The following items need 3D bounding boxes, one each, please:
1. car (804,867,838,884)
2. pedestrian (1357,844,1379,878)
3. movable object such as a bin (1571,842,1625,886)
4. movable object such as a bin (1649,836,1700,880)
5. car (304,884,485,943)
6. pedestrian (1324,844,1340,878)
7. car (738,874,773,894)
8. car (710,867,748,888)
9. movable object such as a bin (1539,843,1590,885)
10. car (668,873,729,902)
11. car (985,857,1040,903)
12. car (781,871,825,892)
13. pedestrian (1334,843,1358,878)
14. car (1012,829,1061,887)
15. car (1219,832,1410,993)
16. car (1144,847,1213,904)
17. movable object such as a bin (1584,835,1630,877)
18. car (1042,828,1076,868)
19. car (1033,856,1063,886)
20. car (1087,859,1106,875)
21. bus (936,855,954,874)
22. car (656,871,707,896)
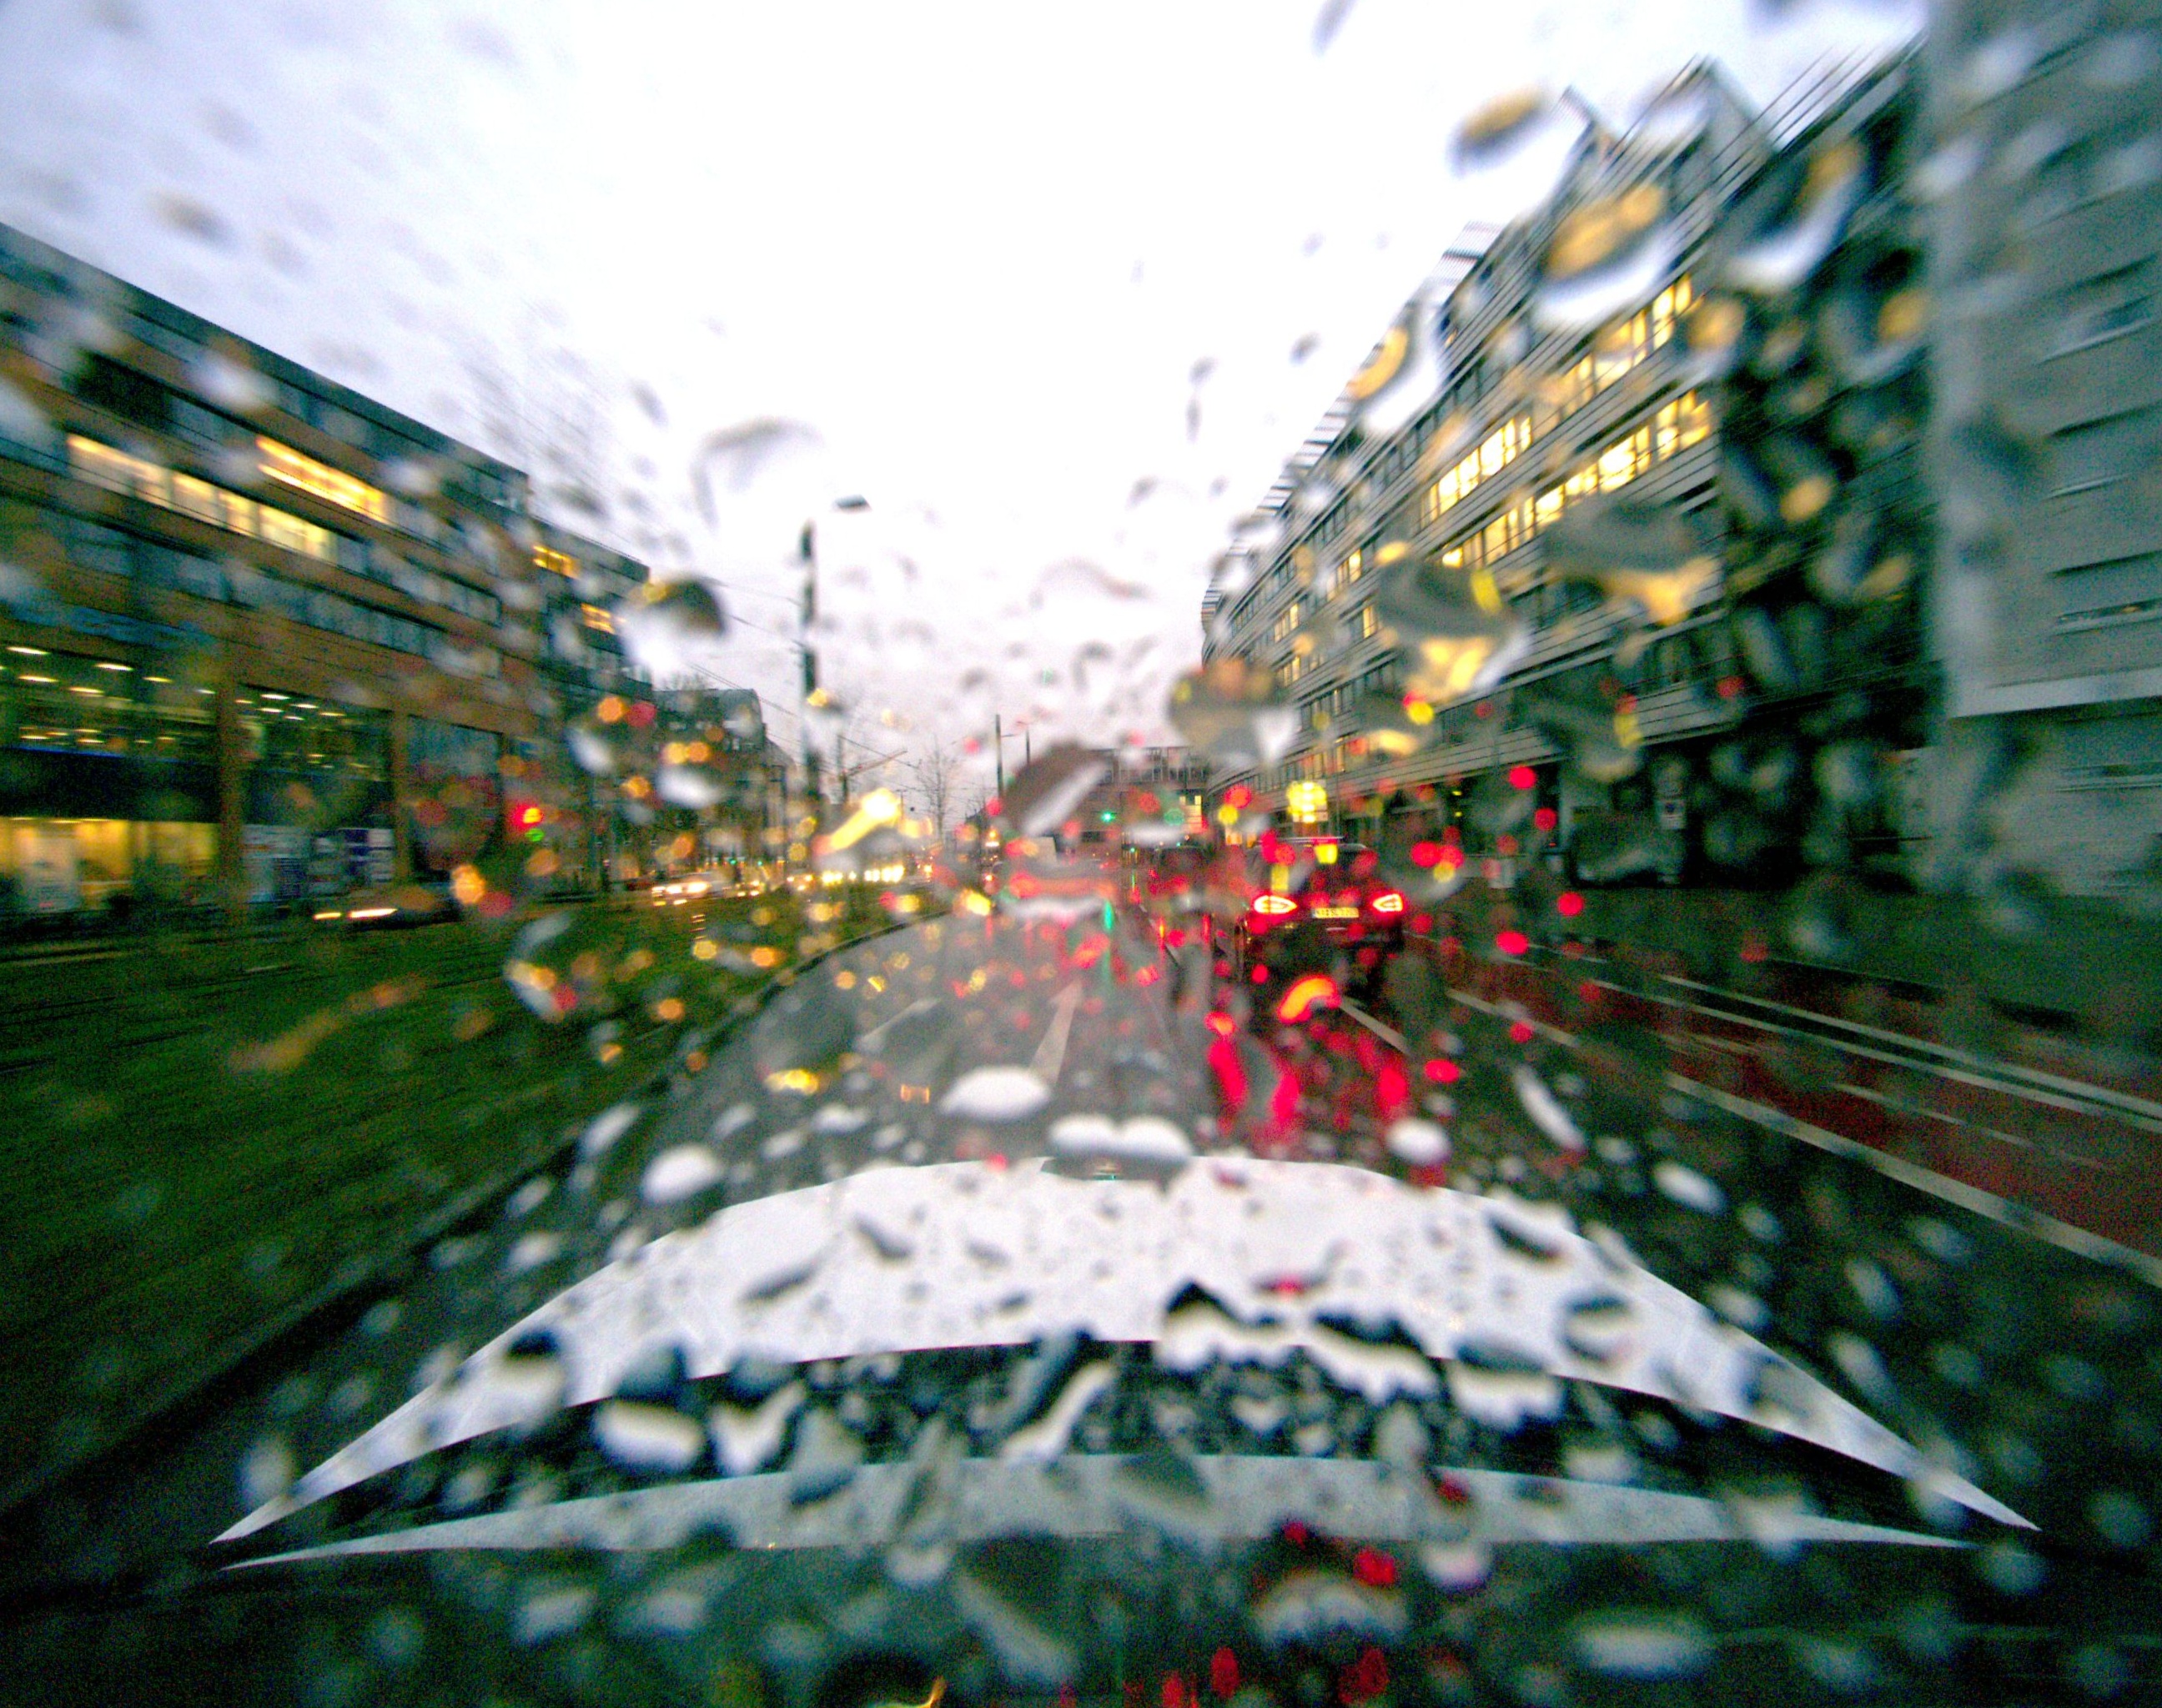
[{"bbox_3d":[-23.464,1.937,73.746,1.990,1.449,4.307,-2,-1,-5],"label":"car"},{"bbox_3d":[14.059,0.337,39.895,0.723,1.625,0.902,-2,-1,1],"label":"pedestrian"},{"bbox_3d":[16.380,0.315,25.833,0.844,1.294,1.165,-4,0,-9],"label":"movable object such as a bin"},{"bbox_3d":[18.347,0.121,25.197,0.729,1.305,0.961,-4,0,-9],"label":"movable object such as a bin"},{"bbox_3d":[-20.538,1.735,24.607,1.805,1.442,3.963,-2,0,6],"label":"car"},{"bbox_3d":[12.354,0.346,40.086,0.529,1.683,0.745,-2,-1,1],"label":"pedestrian"},{"bbox_3d":[-25.846,2.331,64.857,1.632,1.449,4.404,-2,-1,-10],"label":"car"},{"bbox_3d":[-30.897,2.020,71.589,1.626,1.692,3.622,-2,-1,1],"label":"car"},{"bbox_3d":[16.140,0.329,27.195,0.844,1.294,1.165,-4,0,-9],"label":"movable object such as a bin"},{"bbox_3d":[-19.870,1.724,42.466,1.502,1.373,3.650,-2,-1,-1],"label":"car"},{"bbox_3d":[-2.426,0.883,29.463,1.633,1.496,3.684,-2,0,0],"label":"car"},{"bbox_3d":[-20.994,2.038,61.618,1.723,1.393,4.200,-2,-1,1],"label":"car"},{"bbox_3d":[13.068,0.327,40.243,0.790,1.686,1.069,-2,-1,1],"label":"pedestrian"},{"bbox_3d":[-2.049,0.189,37.643,1.989,2.427,5.967,-2,0,-3],"label":"car"},{"bbox_3d":[2.946,0.669,11.092,1.666,1.779,4.004,-1,0,4],"label":"car"},{"bbox_3d":[3.385,0.717,29.060,1.838,1.806,4.486,-2,0,0],"label":"car"},{"bbox_3d":[18.106,0.066,28.049,0.729,1.382,1.076,-4,0,-9],"label":"movable object such as a bin"},{"bbox_3d":[-1.675,-0.391,61.211,2.349,2.827,6.354,-2,-1,-2],"label":"car"},{"bbox_3d":[-1.782,0.938,44.378,1.514,1.520,3.467,-2,-1,-3],"label":"car"},{"bbox_3d":[1.325,1.102,69.104,1.506,1.306,3.042,-2,0,2],"label":"car"},{"bbox_3d":[-25.488,1.924,152.405,2.825,3.372,7.967,-2,-1,-12],"label":"bus"},{"bbox_3d":[-25.249,1.822,51.548,1.502,1.402,3.547,-2,0,-2],"label":"car"}]
